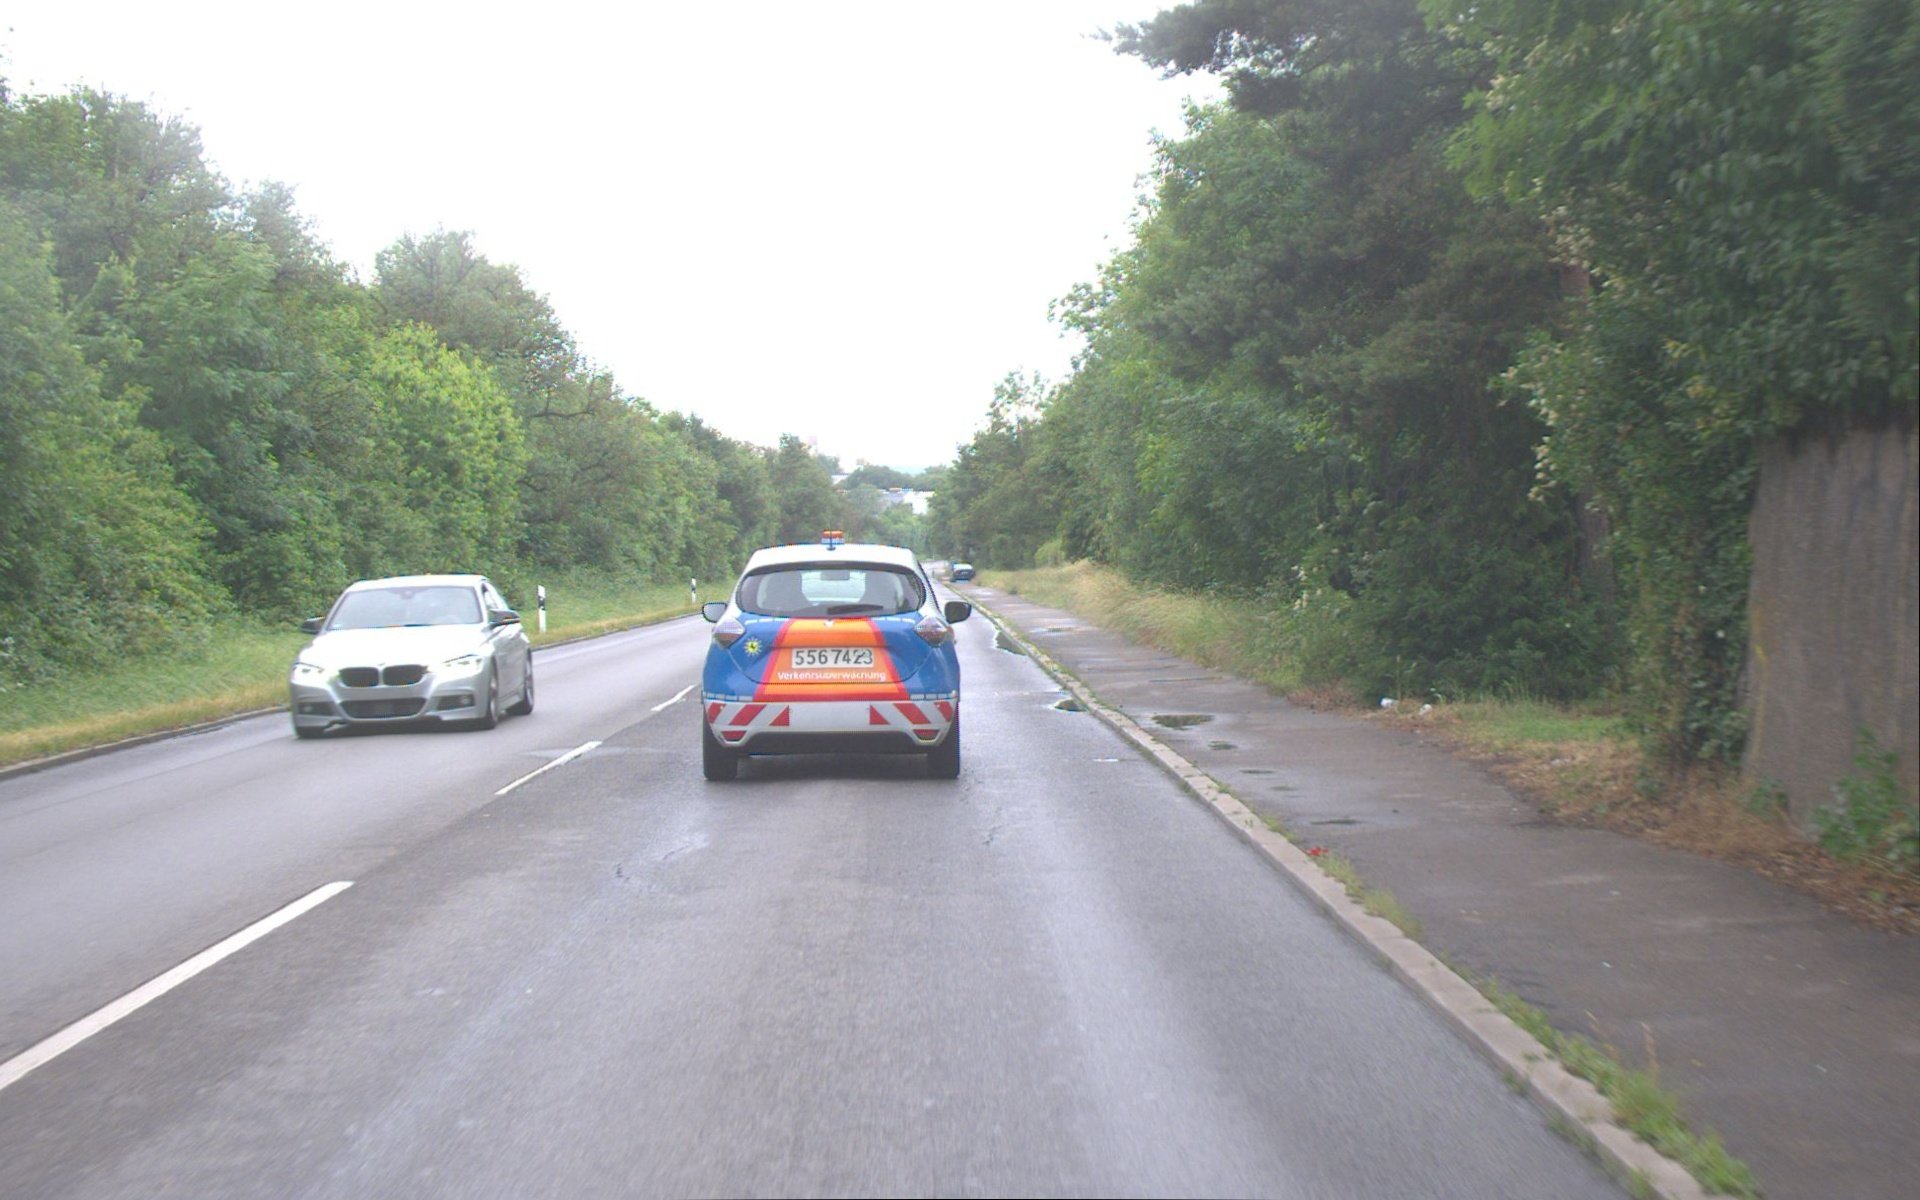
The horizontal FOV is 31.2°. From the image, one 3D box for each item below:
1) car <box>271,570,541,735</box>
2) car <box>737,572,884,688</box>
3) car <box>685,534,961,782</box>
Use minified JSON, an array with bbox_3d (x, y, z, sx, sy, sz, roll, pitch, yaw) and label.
[{"bbox_3d":[-5.054,0.432,31.923,1.891,1.350,4.382,-1,1,-2],"label":"car"},{"bbox_3d":[-1.801,0.339,42.180,1.598,1.282,3.476,-2,1,0],"label":"car"},{"bbox_3d":[-0.901,0.334,23.892,1.752,1.550,3.793,0,2,-1],"label":"car"}]
